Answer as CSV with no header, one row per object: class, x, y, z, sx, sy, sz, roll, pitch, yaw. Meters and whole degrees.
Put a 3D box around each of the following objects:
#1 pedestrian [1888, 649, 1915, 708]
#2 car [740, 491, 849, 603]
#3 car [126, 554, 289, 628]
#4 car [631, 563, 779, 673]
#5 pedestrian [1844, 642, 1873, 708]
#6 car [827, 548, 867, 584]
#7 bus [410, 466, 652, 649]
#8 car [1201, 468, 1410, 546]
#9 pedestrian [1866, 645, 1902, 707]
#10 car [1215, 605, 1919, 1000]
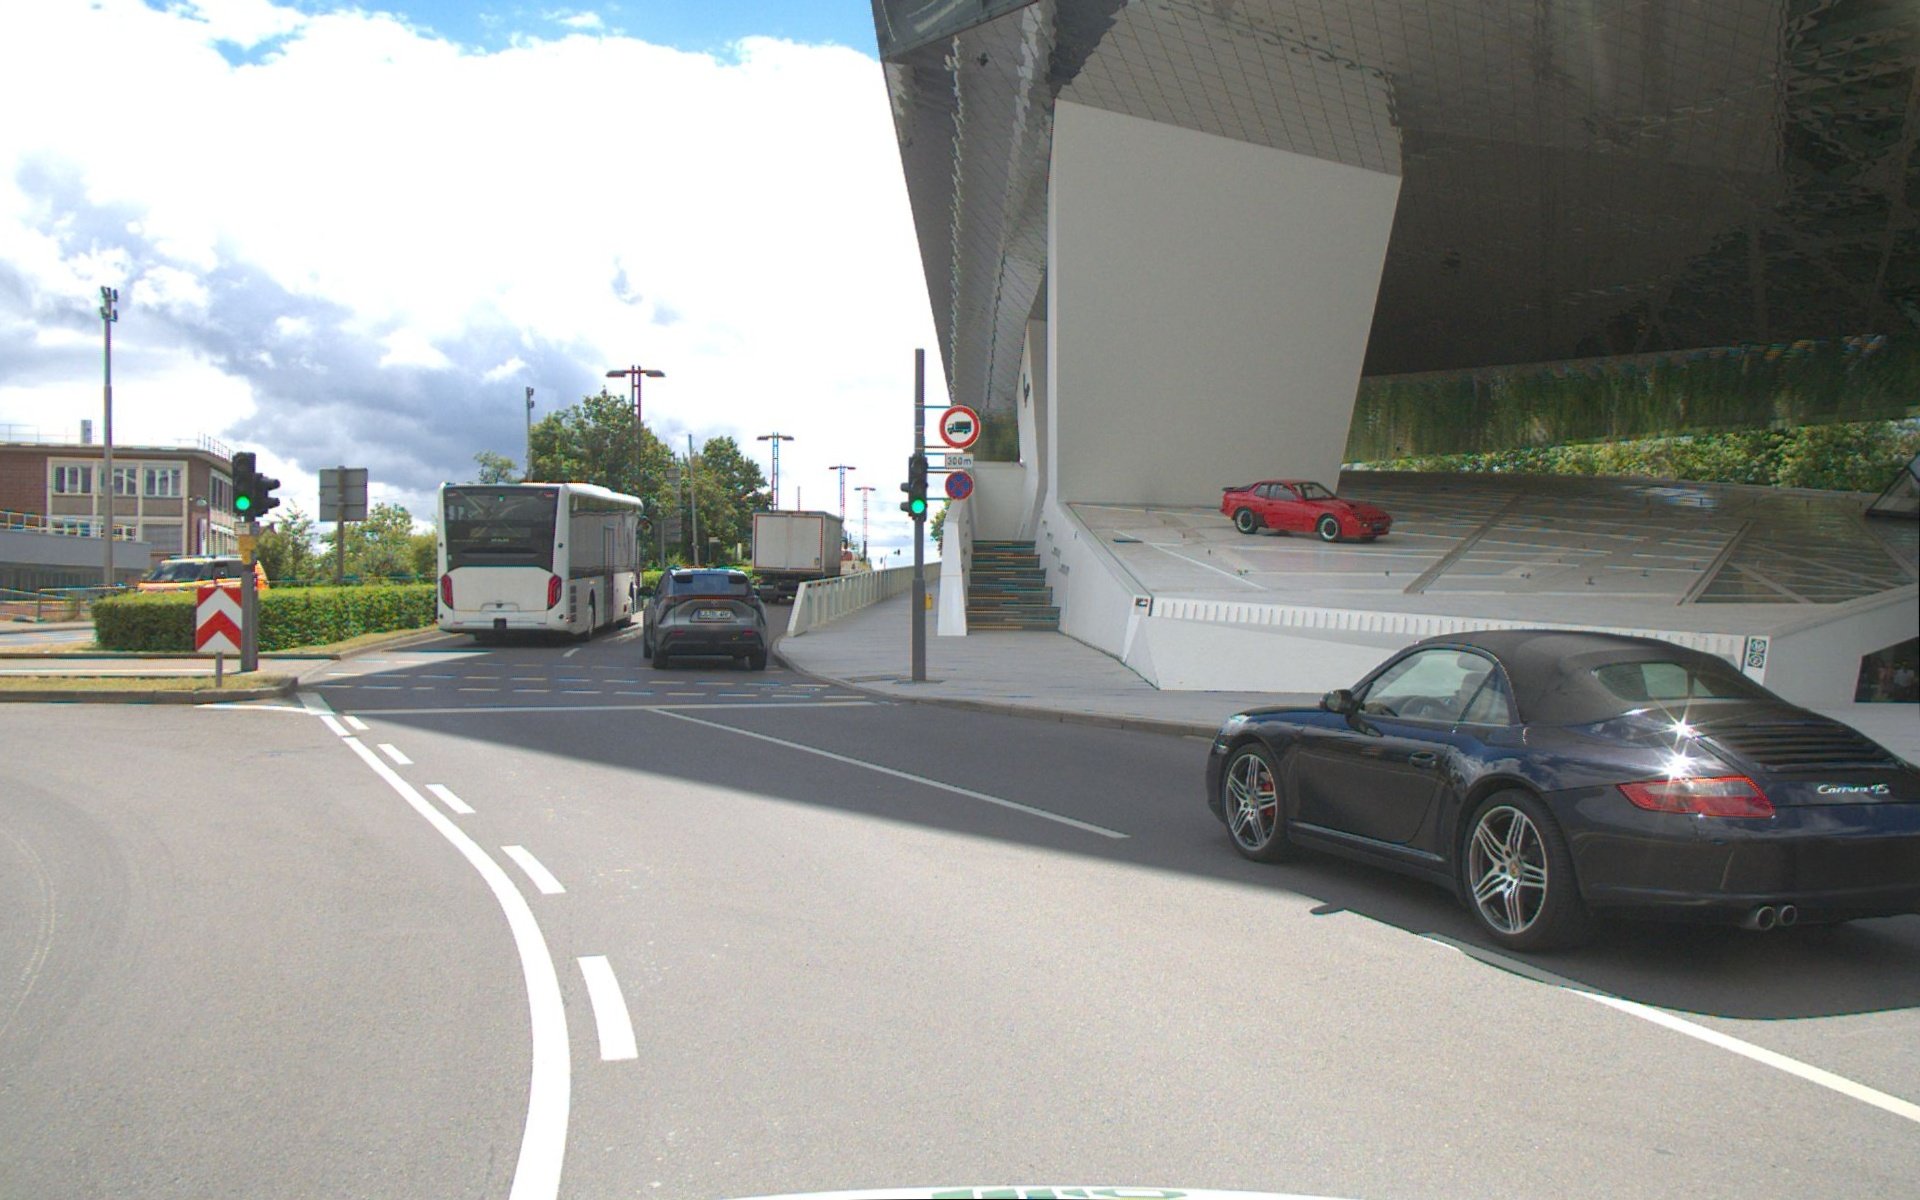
pedestrian,20.932,1.741,36.780,0.463,1.275,0.561,1,-1,24
car,-5.967,-1.808,61.316,3.268,3.565,9.337,2,-1,-2
car,-21.615,-0.275,47.764,1.951,2.018,4.841,0,1,8
car,-4.340,0.255,27.716,1.961,1.665,3.983,1,1,-16
pedestrian,17.579,1.469,32.377,0.386,1.275,0.401,1,-1,12
car,-6.814,-2.042,100.082,1.952,1.937,4.000,2,-1,2
bus,-9.335,-1.001,37.725,3.011,3.420,12.216,2,2,-4
car,8.015,-2.237,38.682,1.983,1.418,4.448,-4,10,-41
pedestrian,19.431,1.600,34.778,0.552,1.275,0.471,0,-2,42
car,2.933,0.734,8.115,1.805,1.348,3.981,0,1,-17
